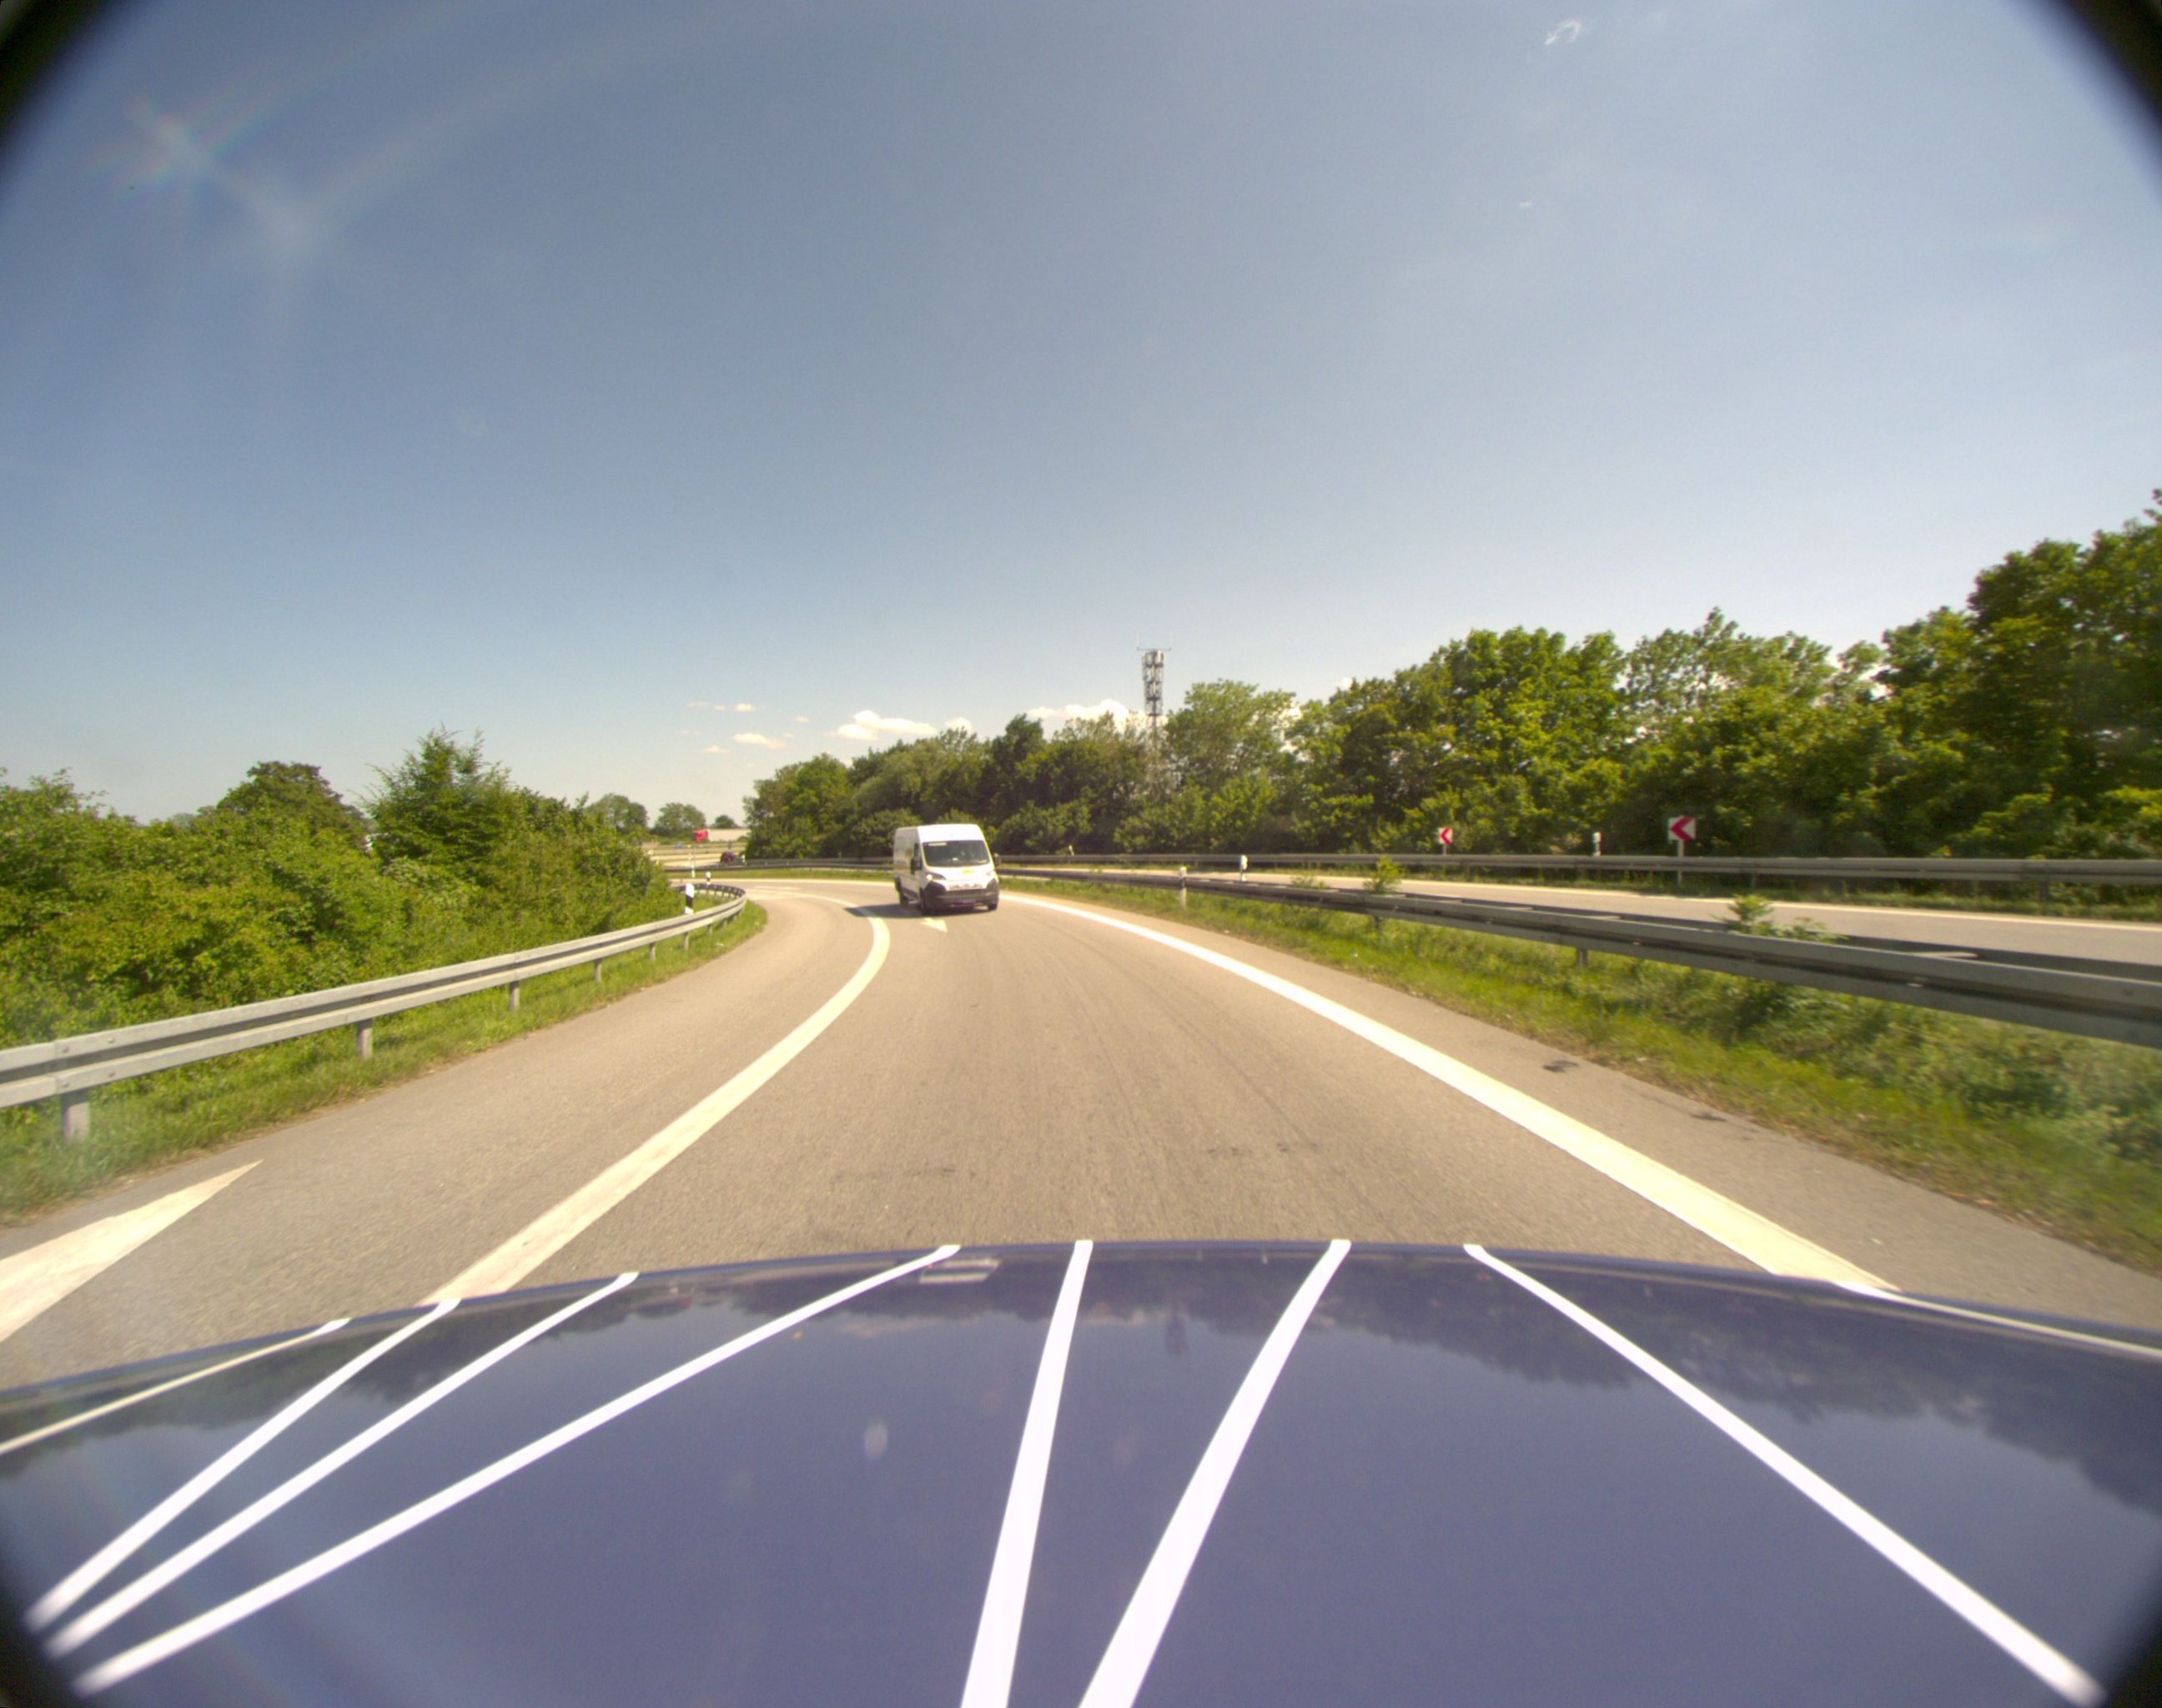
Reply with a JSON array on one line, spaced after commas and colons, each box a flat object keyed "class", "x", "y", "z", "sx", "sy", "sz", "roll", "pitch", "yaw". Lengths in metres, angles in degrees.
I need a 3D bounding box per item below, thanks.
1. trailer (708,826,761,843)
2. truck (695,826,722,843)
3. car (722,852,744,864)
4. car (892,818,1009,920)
[{"class": "trailer", "x": -88.799, "y": -4.958, "z": 195.156, "sx": 2.741, "sy": 4.140, "sz": 12.812, "roll": -1, "pitch": 1, "yaw": 31}, {"class": "truck", "x": -92.567, "y": -4.782, "z": 188.733, "sx": 2.741, "sy": 4.140, "sz": 5.167, "roll": -1, "pitch": 1, "yaw": 31}, {"class": "car", "x": -53.040, "y": 0.616, "z": 115.875, "sx": 1.834, "sy": 1.706, "sz": 3.998, "roll": -2, "pitch": 1, "yaw": -5}, {"class": "car", "x": -4.062, "y": 0.377, "z": 22.581, "sx": 2.090, "sy": 2.509, "sz": 6.226, "roll": -4, "pitch": 1, "yaw": -21}]
